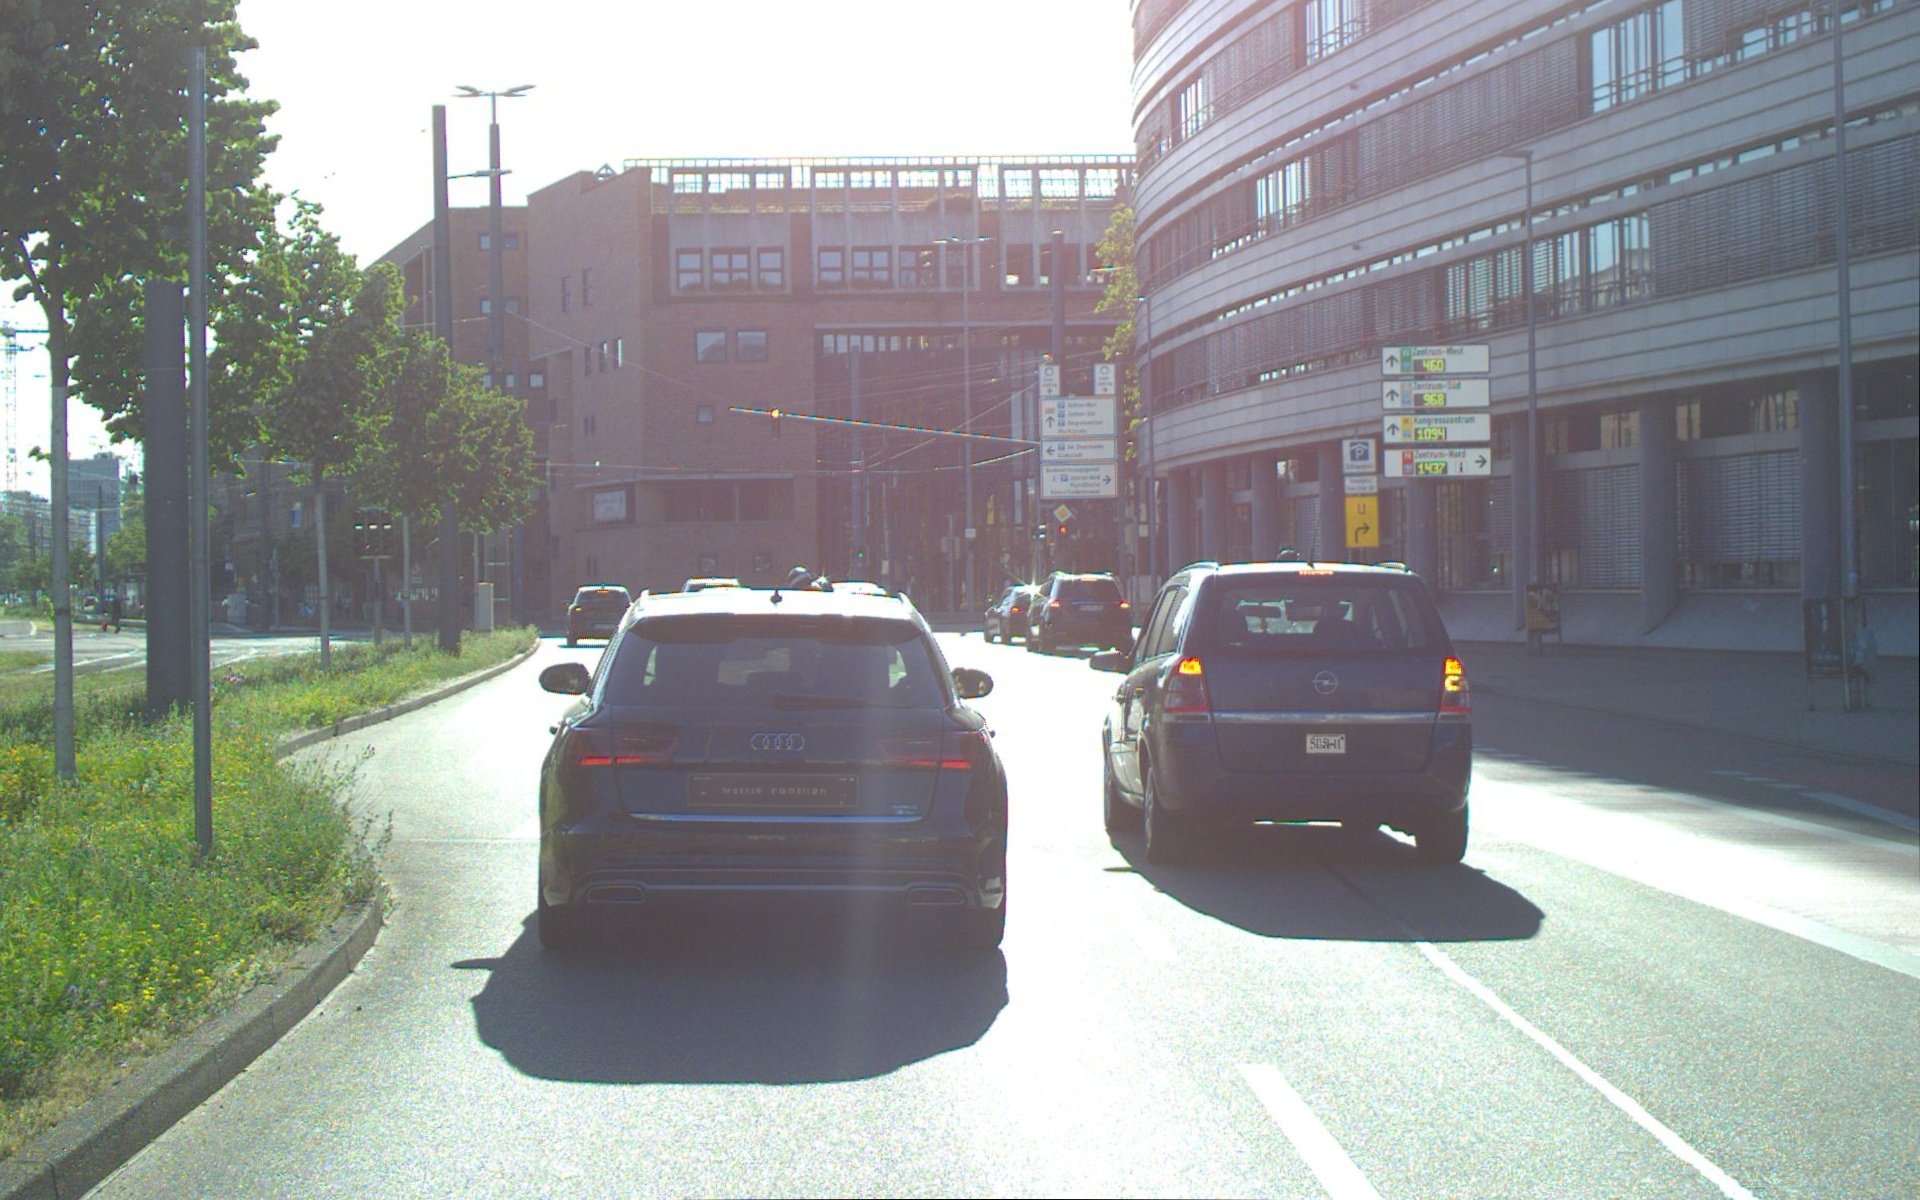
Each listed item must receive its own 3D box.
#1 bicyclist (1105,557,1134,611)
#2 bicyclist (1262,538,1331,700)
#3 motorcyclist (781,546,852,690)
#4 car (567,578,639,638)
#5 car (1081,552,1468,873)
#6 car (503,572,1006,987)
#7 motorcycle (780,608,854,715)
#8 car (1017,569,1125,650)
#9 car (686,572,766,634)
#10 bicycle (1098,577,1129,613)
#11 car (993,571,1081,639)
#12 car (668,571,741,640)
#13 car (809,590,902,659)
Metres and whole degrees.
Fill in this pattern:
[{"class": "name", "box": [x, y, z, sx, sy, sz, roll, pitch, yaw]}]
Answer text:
[{"class": "bicyclist", "box": [4.809, -0.495, 103.488, 0.684, 1.612, 0.990, -1, 0, 13]}, {"class": "bicyclist", "box": [3.749, 0.206, 38.365, 0.577, 1.785, 0.864, -1, 0, -6]}, {"class": "motorcyclist", "box": [-1.563, 0.187, 37.346, 0.745, 1.525, 1.021, -1, 0, -3]}, {"class": "car", "box": [-8.742, 0.182, 84.371, 1.649, 1.428, 4.001, -1, 0, -5]}, {"class": "car", "box": [1.695, 0.566, 19.897, 1.688, 1.623, 4.463, -1, 0, -2]}, {"class": "car", "box": [-0.767, 0.640, 14.769, 1.811, 1.487, 4.496, -1, 0, -1]}, {"class": "motorcycle", "box": [-1.575, 0.656, 37.634, 0.775, 1.111, 1.969, -1, 0, -3]}, {"class": "car", "box": [2.465, 0.191, 77.378, 1.993, 1.744, 4.329, -1, 0, -3]}, {"class": "car", "box": [-5.357, 0.063, 78.350, 1.737, 1.345, 4.001, -1, 0, -5]}, {"class": "bicycle", "box": [4.606, -0.155, 103.156, 0.504, 1.054, 1.701, -3, 0, 15]}, {"class": "car", "box": [1.908, 0.115, 86.401, 1.993, 1.645, 4.000, -1, 0, -2]}, {"class": "car", "box": [-6.372, 0.121, 85.432, 1.737, 1.645, 4.001, -1, 0, -5]}, {"class": "car", "box": [-2.306, 0.523, 75.175, 1.807, 1.452, 4.001, 0, 0, -5]}]
